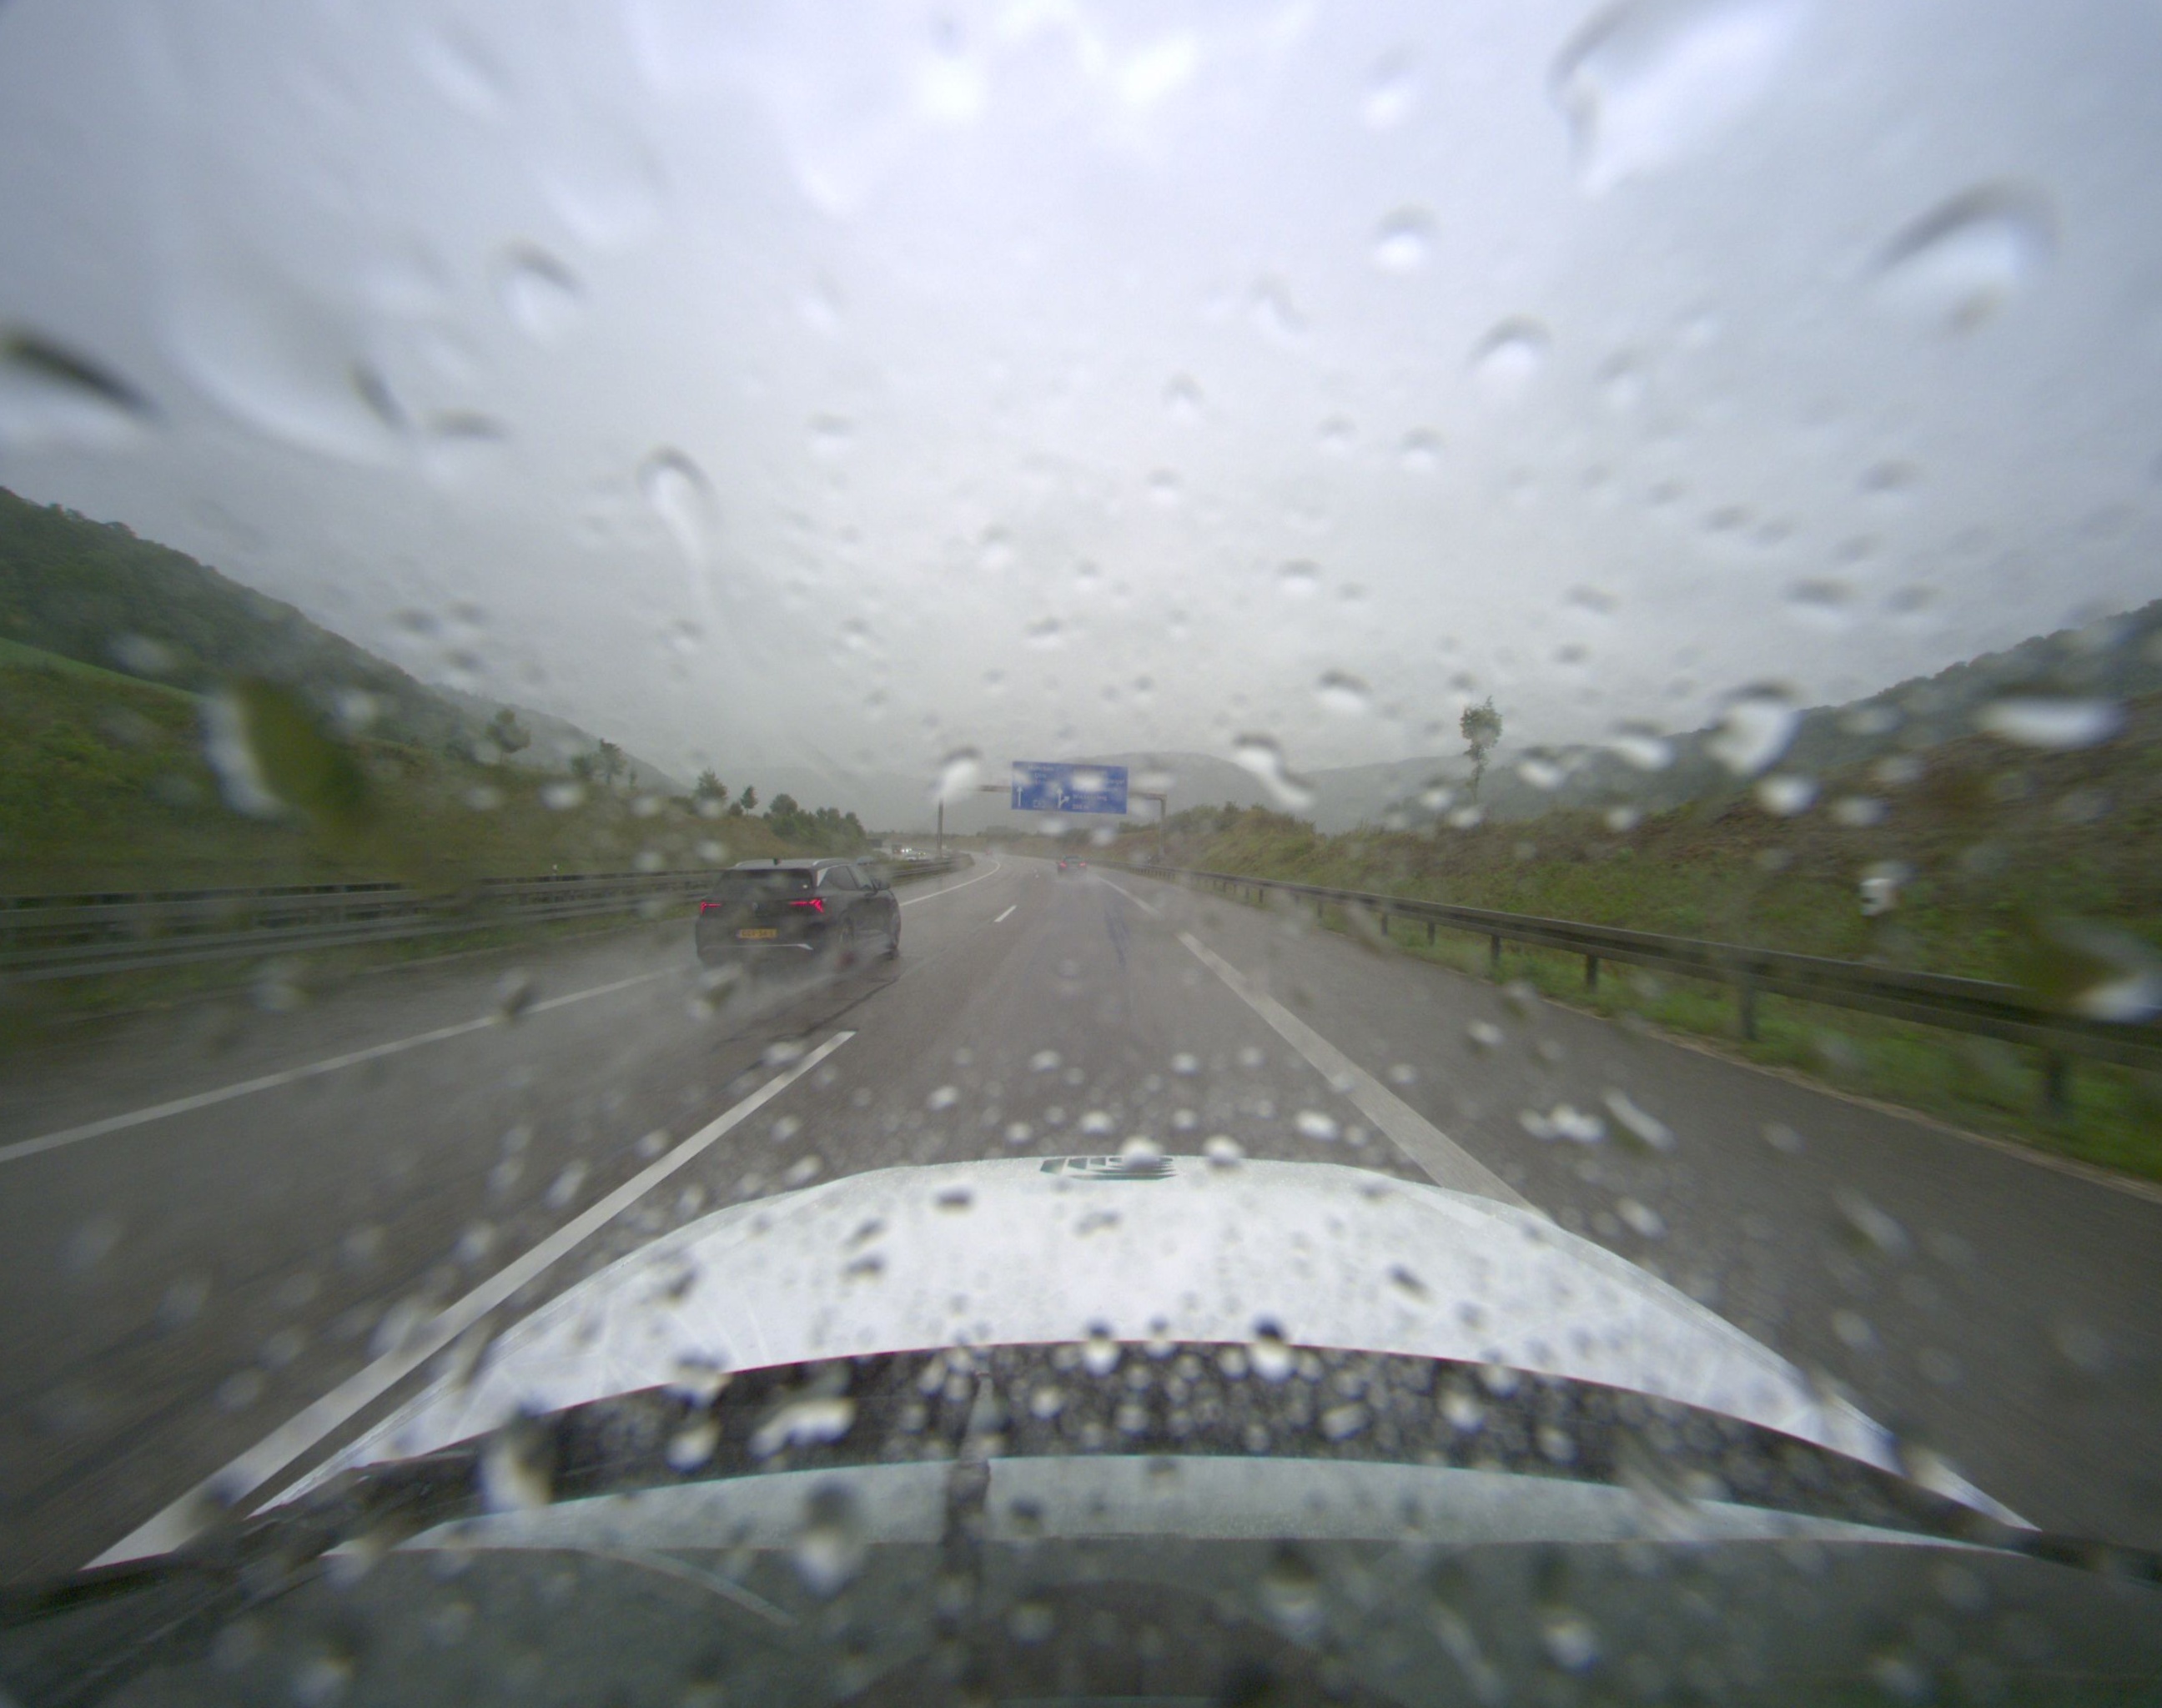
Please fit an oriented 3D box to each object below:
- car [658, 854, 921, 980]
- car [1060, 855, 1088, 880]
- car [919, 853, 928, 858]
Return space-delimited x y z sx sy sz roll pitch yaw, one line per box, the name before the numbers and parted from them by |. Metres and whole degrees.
car | -3.995 0.780 12.289 2.400 1.515 4.779 0 0 -3
car | -0.471 0.822 51.557 1.674 1.472 3.812 1 0 -1
car | -43.322 0.442 223.955 1.989 1.519 3.995 1 -1 -4
